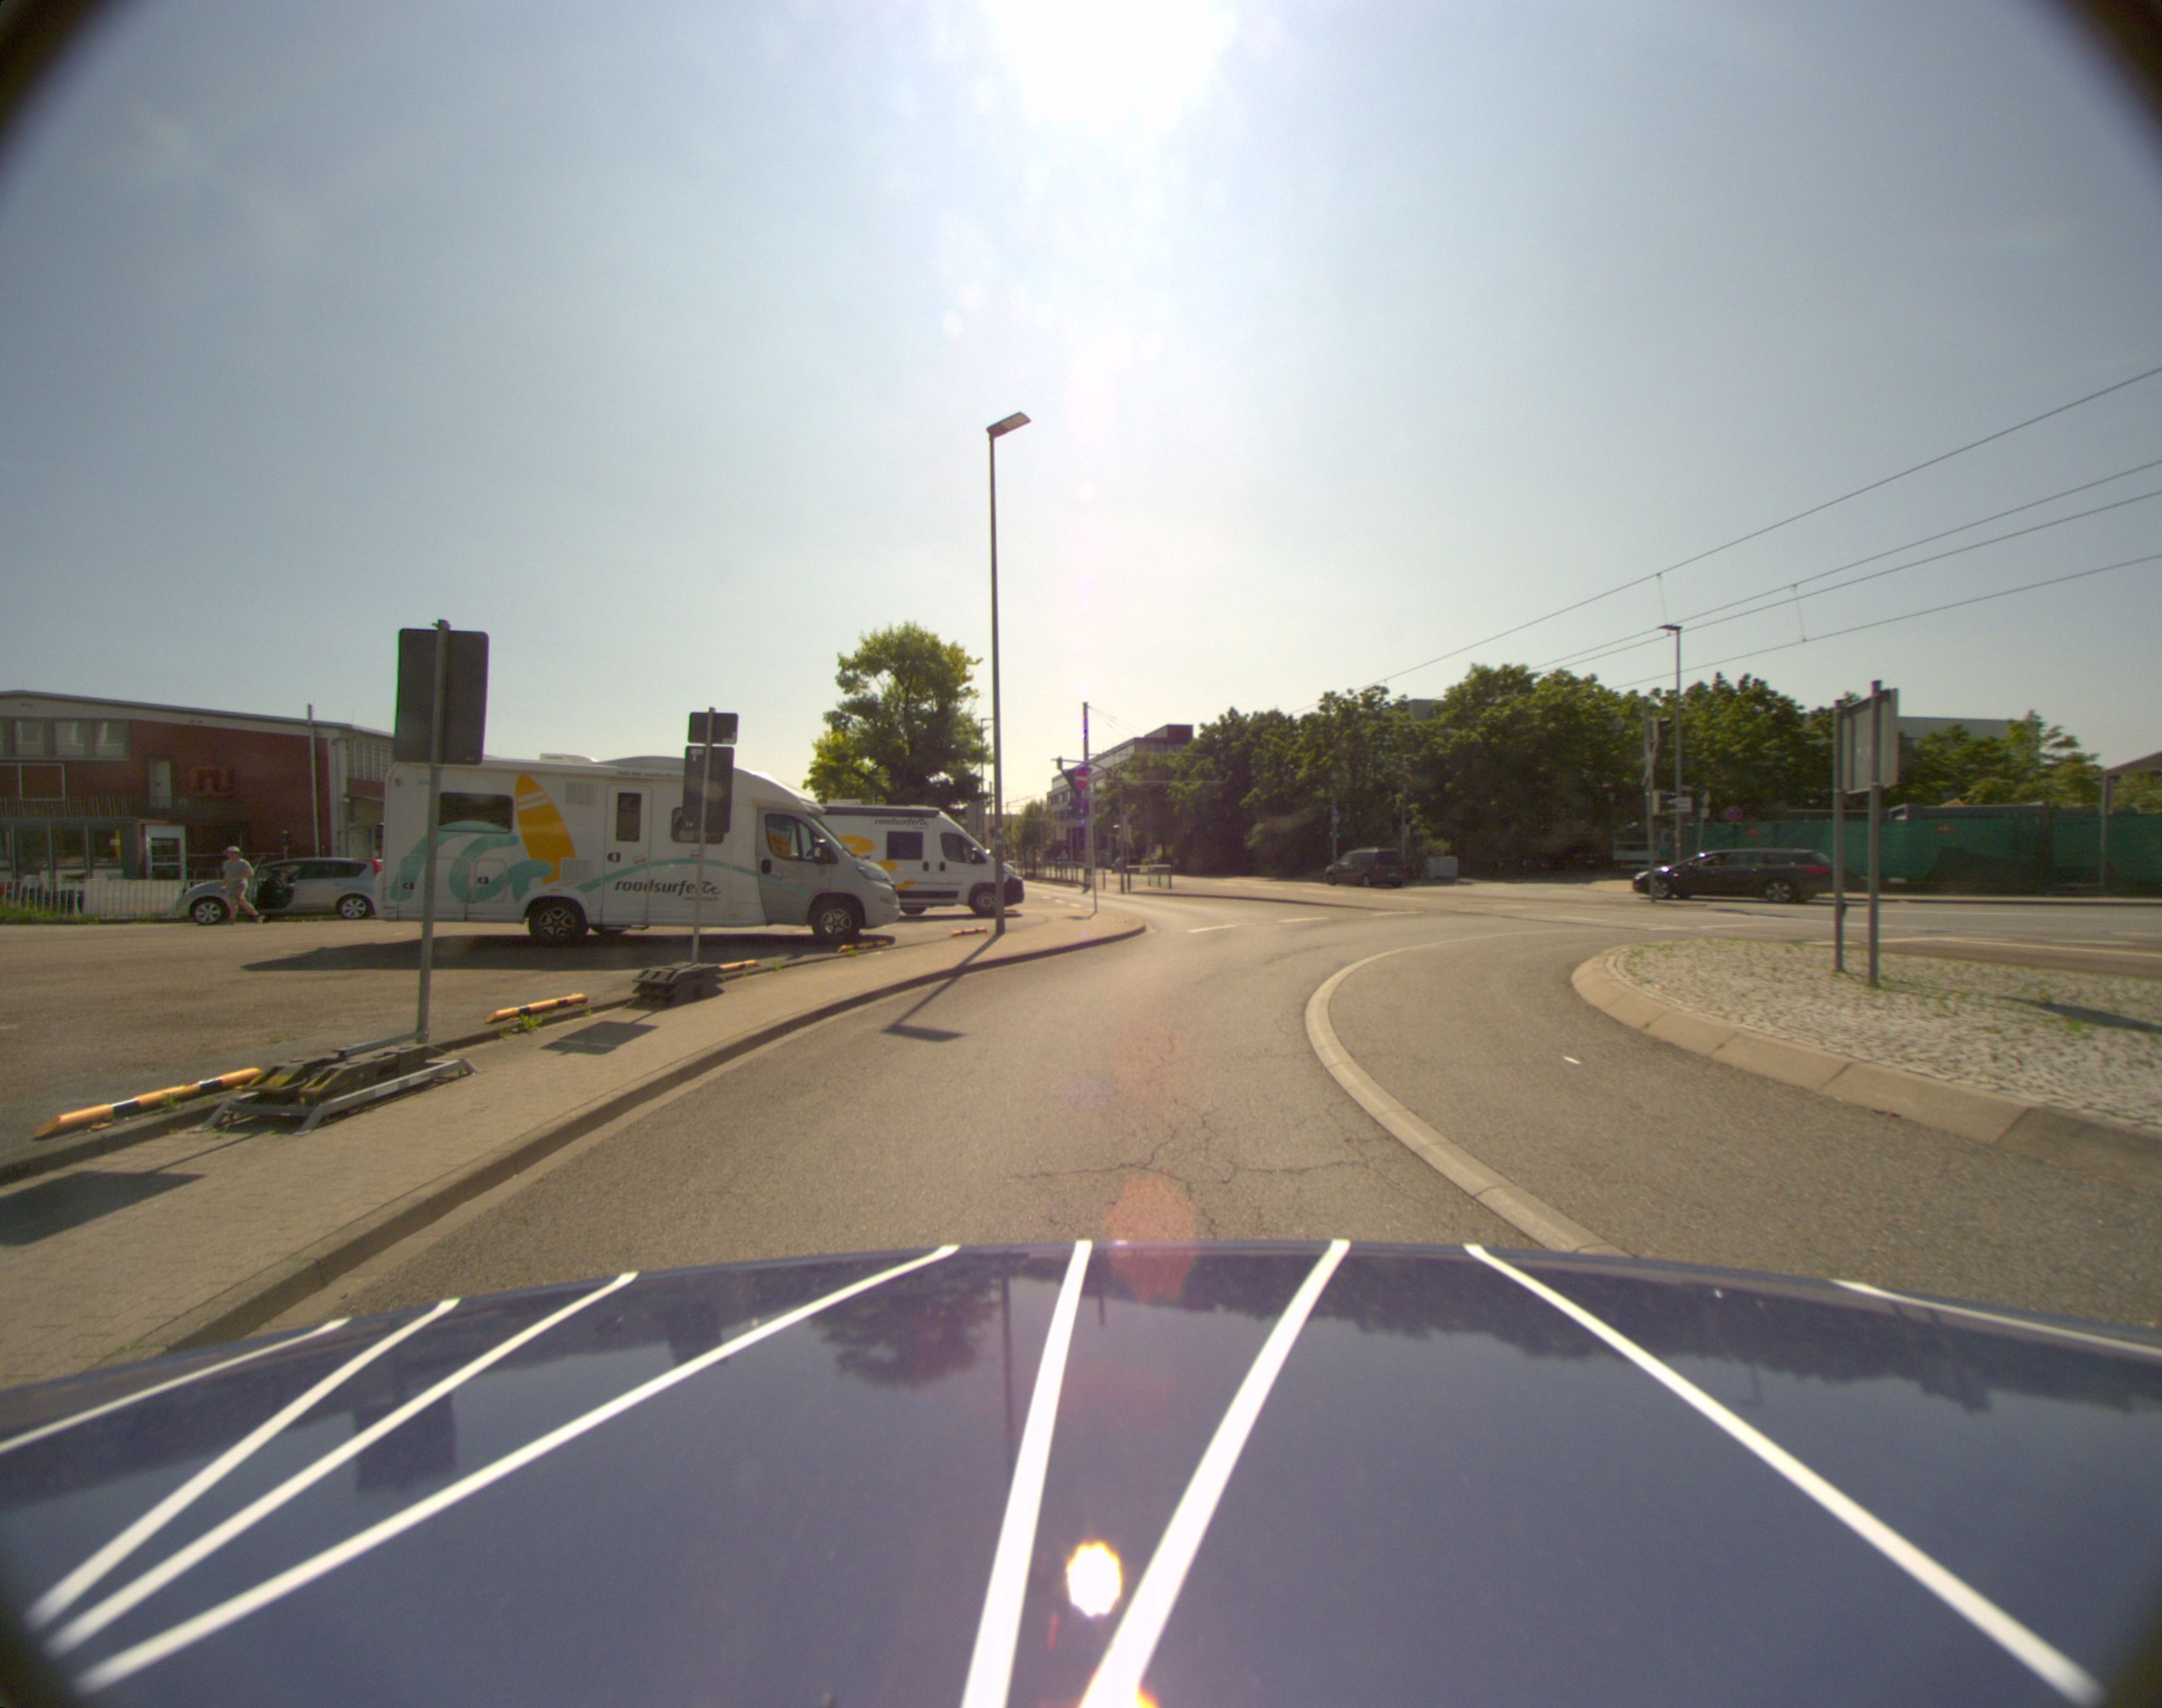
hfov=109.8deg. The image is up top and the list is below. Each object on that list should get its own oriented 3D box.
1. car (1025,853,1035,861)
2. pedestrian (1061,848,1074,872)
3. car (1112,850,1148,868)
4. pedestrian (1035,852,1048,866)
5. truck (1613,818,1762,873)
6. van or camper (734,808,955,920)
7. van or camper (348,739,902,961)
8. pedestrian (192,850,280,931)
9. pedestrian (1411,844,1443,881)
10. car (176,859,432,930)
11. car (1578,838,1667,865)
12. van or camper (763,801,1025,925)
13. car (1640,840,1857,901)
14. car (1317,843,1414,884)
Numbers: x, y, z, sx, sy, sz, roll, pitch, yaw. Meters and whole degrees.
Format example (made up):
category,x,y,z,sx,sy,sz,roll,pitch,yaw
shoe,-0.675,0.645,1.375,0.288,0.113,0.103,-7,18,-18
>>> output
category,x,y,z,sx,sy,sz,roll,pitch,yaw
car,-10.560,0.703,155.909,1.872,1.608,3.998,0,0,-6
pedestrian,-0.979,0.433,55.392,0.726,1.714,0.943,-2,0,-13
car,4.511,0.446,70.573,1.935,1.574,4.184,2,1,-18
pedestrian,-3.196,0.431,61.290,0.946,1.093,0.725,-2,0,-13
truck,28.791,-0.407,36.080,6.393,2.323,2.207,-2,0,-17
van or camper,-6.338,0.263,21.031,5.524,2.797,2.047,-2,-1,-9
van or camper,-6.476,-0.025,11.964,7.088,2.929,2.332,1,1,-13
pedestrian,-17.950,0.746,16.165,0.777,1.662,0.945,0,1,-2
pedestrian,17.195,0.424,37.778,0.889,1.662,1.157,-5,6,-14
car,-18.451,0.940,18.273,3.898,1.506,1.815,-1,-2,-17
car,31.388,-0.128,44.127,1.629,1.458,3.857,-2,0,-37
van or camper,-4.380,0.195,18.451,5.831,2.757,2.089,0,0,-11
car,18.760,0.451,21.548,1.973,1.546,4.232,-1,-1,-33
car,13.261,0.417,35.746,1.991,1.808,4.402,-1,0,-17
